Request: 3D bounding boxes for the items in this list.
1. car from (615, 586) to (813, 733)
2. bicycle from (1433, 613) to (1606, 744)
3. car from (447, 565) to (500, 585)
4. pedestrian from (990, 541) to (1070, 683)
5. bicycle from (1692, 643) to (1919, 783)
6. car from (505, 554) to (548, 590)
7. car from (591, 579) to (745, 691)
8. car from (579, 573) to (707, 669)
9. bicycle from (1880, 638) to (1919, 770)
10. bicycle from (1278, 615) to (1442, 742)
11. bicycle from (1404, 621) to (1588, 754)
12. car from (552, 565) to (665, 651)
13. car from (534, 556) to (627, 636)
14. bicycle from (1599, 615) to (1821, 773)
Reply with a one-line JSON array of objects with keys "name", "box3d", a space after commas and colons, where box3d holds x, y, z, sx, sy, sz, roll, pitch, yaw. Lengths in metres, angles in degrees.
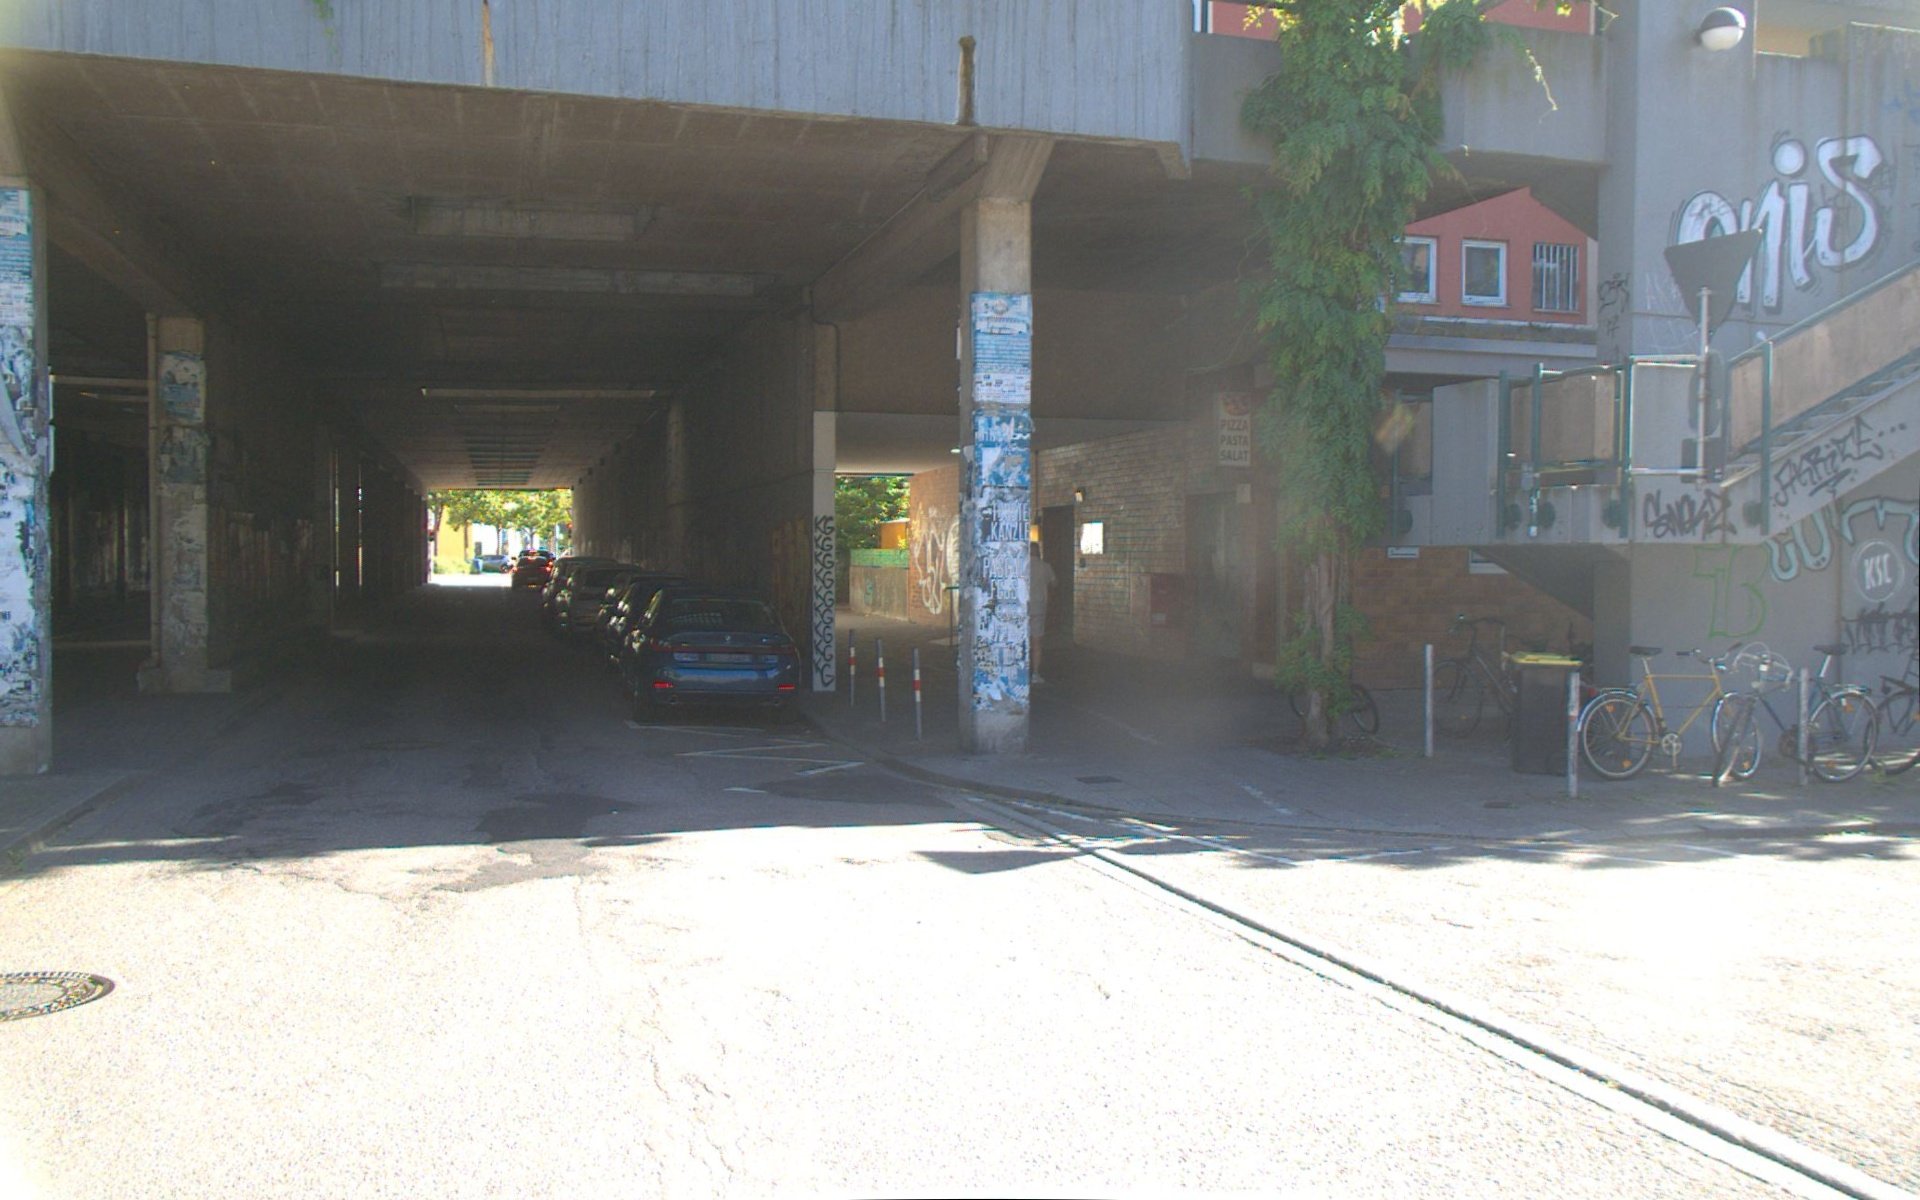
[{"name": "car", "box3d": [-2.998, 0.608, 19.335, 1.820, 1.458, 4.590, 1, 1, -14]}, {"name": "bicycle", "box3d": [5.088, 0.683, 15.164, 0.408, 1.018, 1.789, -2, 3, -23]}, {"name": "car", "box3d": [-39.371, -2.008, 133.924, 3.917, 1.601, 1.635, 0, 1, -12]}, {"name": "pedestrian", "box3d": [0.878, 0.136, 20.861, 0.781, 1.728, 0.754, 0, 3, -18]}, {"name": "bicycle", "box3d": [6.725, 0.880, 12.970, 1.759, 1.048, 0.415, 0, 4, 0]}, {"name": "car", "box3d": [-19.464, -1.284, 74.211, 1.796, 1.527, 4.195, 0, 2, -15]}, {"name": "car", "box3d": [-4.290, 0.428, 23.877, 1.733, 1.435, 4.044, -1, 1, -17]}, {"name": "car", "box3d": [-5.443, 0.300, 28.108, 1.580, 1.513, 3.616, -1, 1, -20]}, {"name": "bicycle", "box3d": [8.495, 0.832, 13.530, 1.762, 1.018, 0.415, 0, 4, -7]}, {"name": "bicycle", "box3d": [3.659, 0.690, 15.273, 0.476, 1.018, 1.789, -2, 2, -24]}, {"name": "bicycle", "box3d": [4.711, 0.748, 14.628, 0.411, 1.018, 1.595, -3, 4, -38]}, {"name": "car", "box3d": [-7.003, 0.105, 32.686, 1.703, 1.573, 4.133, -1, 1, -19]}, {"name": "car", "box3d": [-8.757, -0.136, 37.984, 1.823, 1.695, 4.352, 0, 2, -16]}, {"name": "bicycle", "box3d": [6.139, 0.758, 13.584, 1.593, 1.258, 0.461, 0, 1, 6]}]
